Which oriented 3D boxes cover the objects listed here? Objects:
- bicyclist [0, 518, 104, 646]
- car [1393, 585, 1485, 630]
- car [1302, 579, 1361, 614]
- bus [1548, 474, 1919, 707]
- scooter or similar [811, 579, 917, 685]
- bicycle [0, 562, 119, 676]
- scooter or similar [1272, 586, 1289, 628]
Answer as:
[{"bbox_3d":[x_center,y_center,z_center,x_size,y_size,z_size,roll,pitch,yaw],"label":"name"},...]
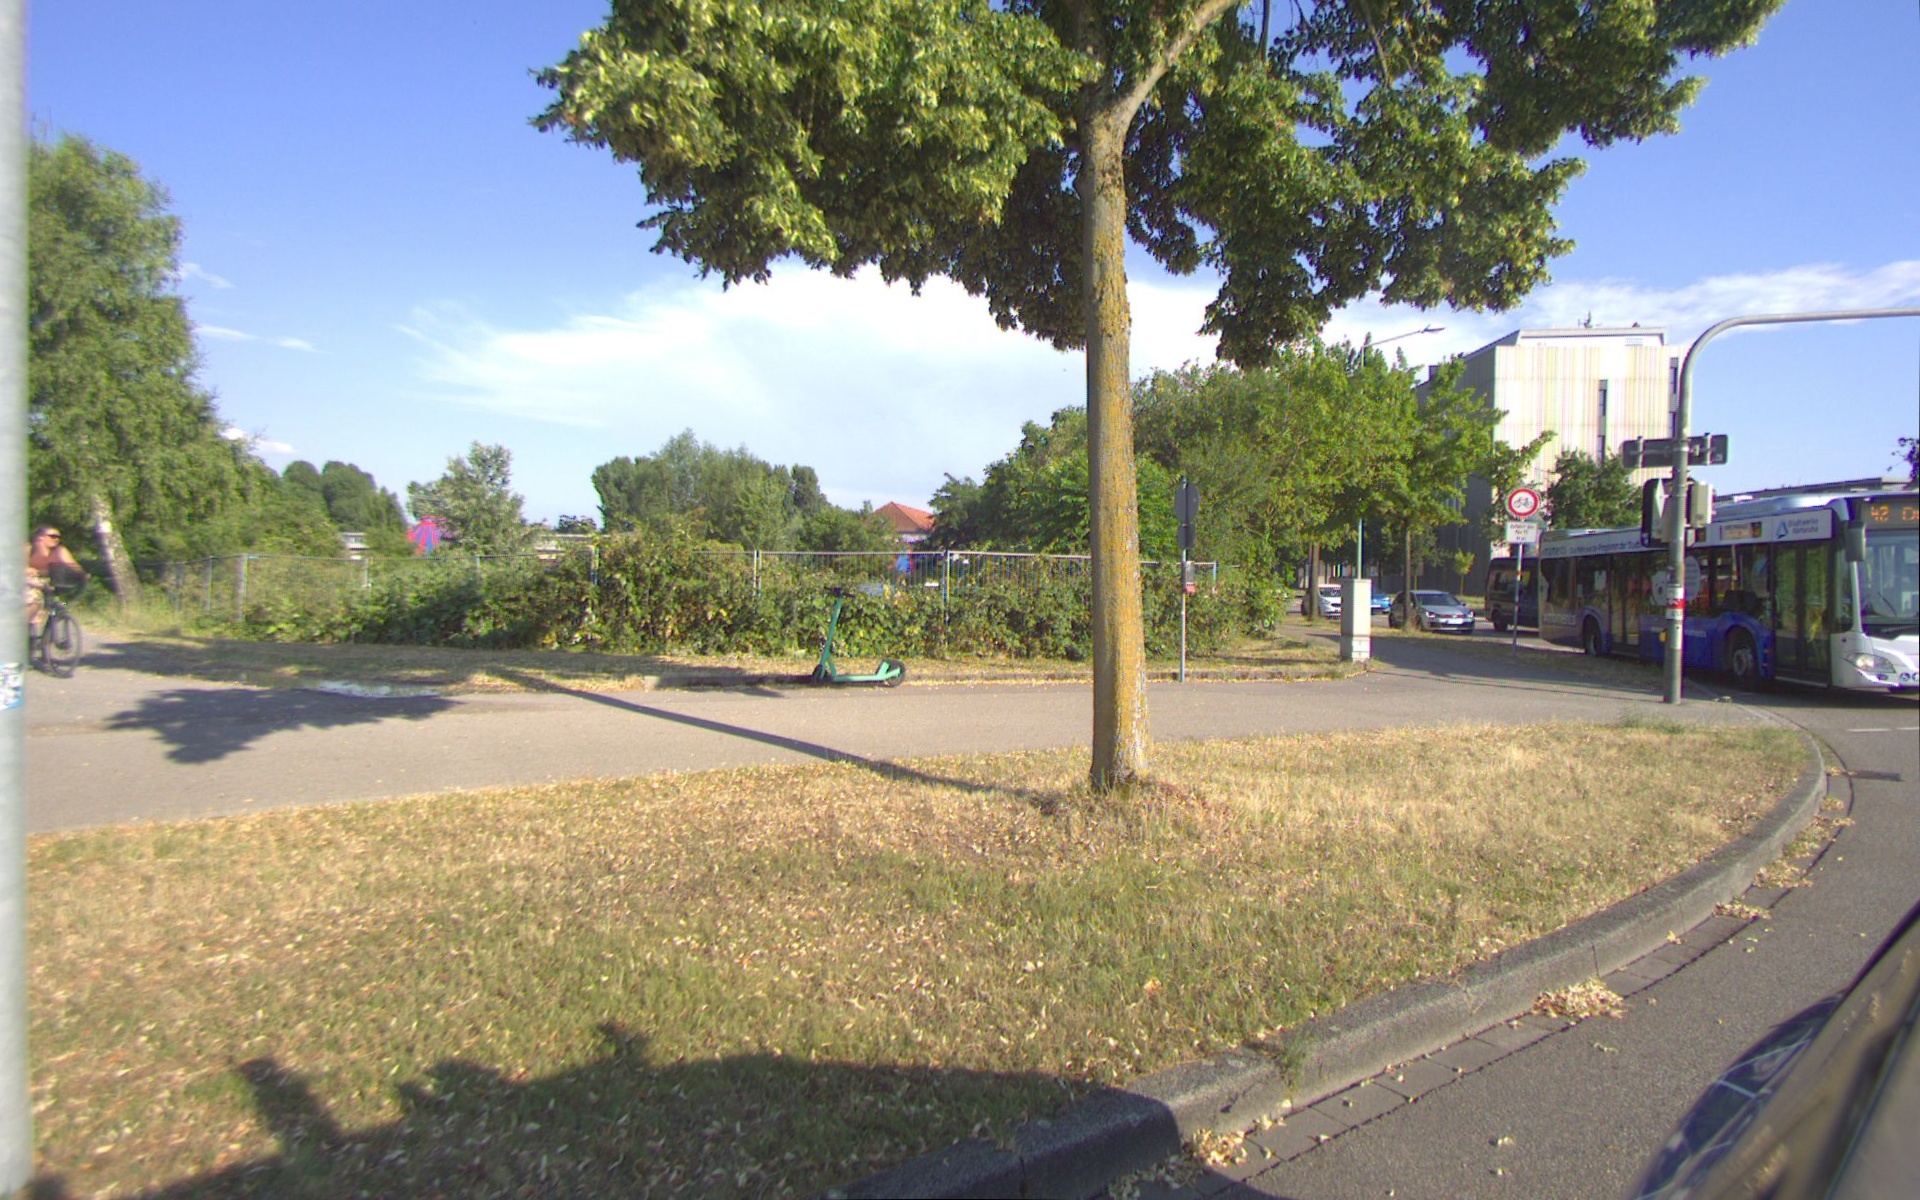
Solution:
[{"bbox_3d":[-10.206,-0.206,11.355,0.969,1.380,0.555,1,1,23],"label":"bicyclist"},{"bbox_3d":[16.475,0.203,34.974,1.557,1.441,3.625,1,1,3],"label":"car"},{"bbox_3d":[17.496,-0.188,47.807,1.557,1.581,3.625,1,1,3],"label":"car"},{"bbox_3d":[14.448,-0.246,18.893,2.557,3.081,11.676,0,1,13],"label":"bus"},{"bbox_3d":[-1.128,0.373,11.840,1.146,1.174,0.343,2,1,-15],"label":"scooter or similar"},{"bbox_3d":[-10.221,0.184,11.281,1.807,1.170,0.488,2,1,22],"label":"bicycle"},{"bbox_3d":[9.005,0.184,28.450,0.245,1.140,1.092,3,1,9],"label":"scooter or similar"}]
